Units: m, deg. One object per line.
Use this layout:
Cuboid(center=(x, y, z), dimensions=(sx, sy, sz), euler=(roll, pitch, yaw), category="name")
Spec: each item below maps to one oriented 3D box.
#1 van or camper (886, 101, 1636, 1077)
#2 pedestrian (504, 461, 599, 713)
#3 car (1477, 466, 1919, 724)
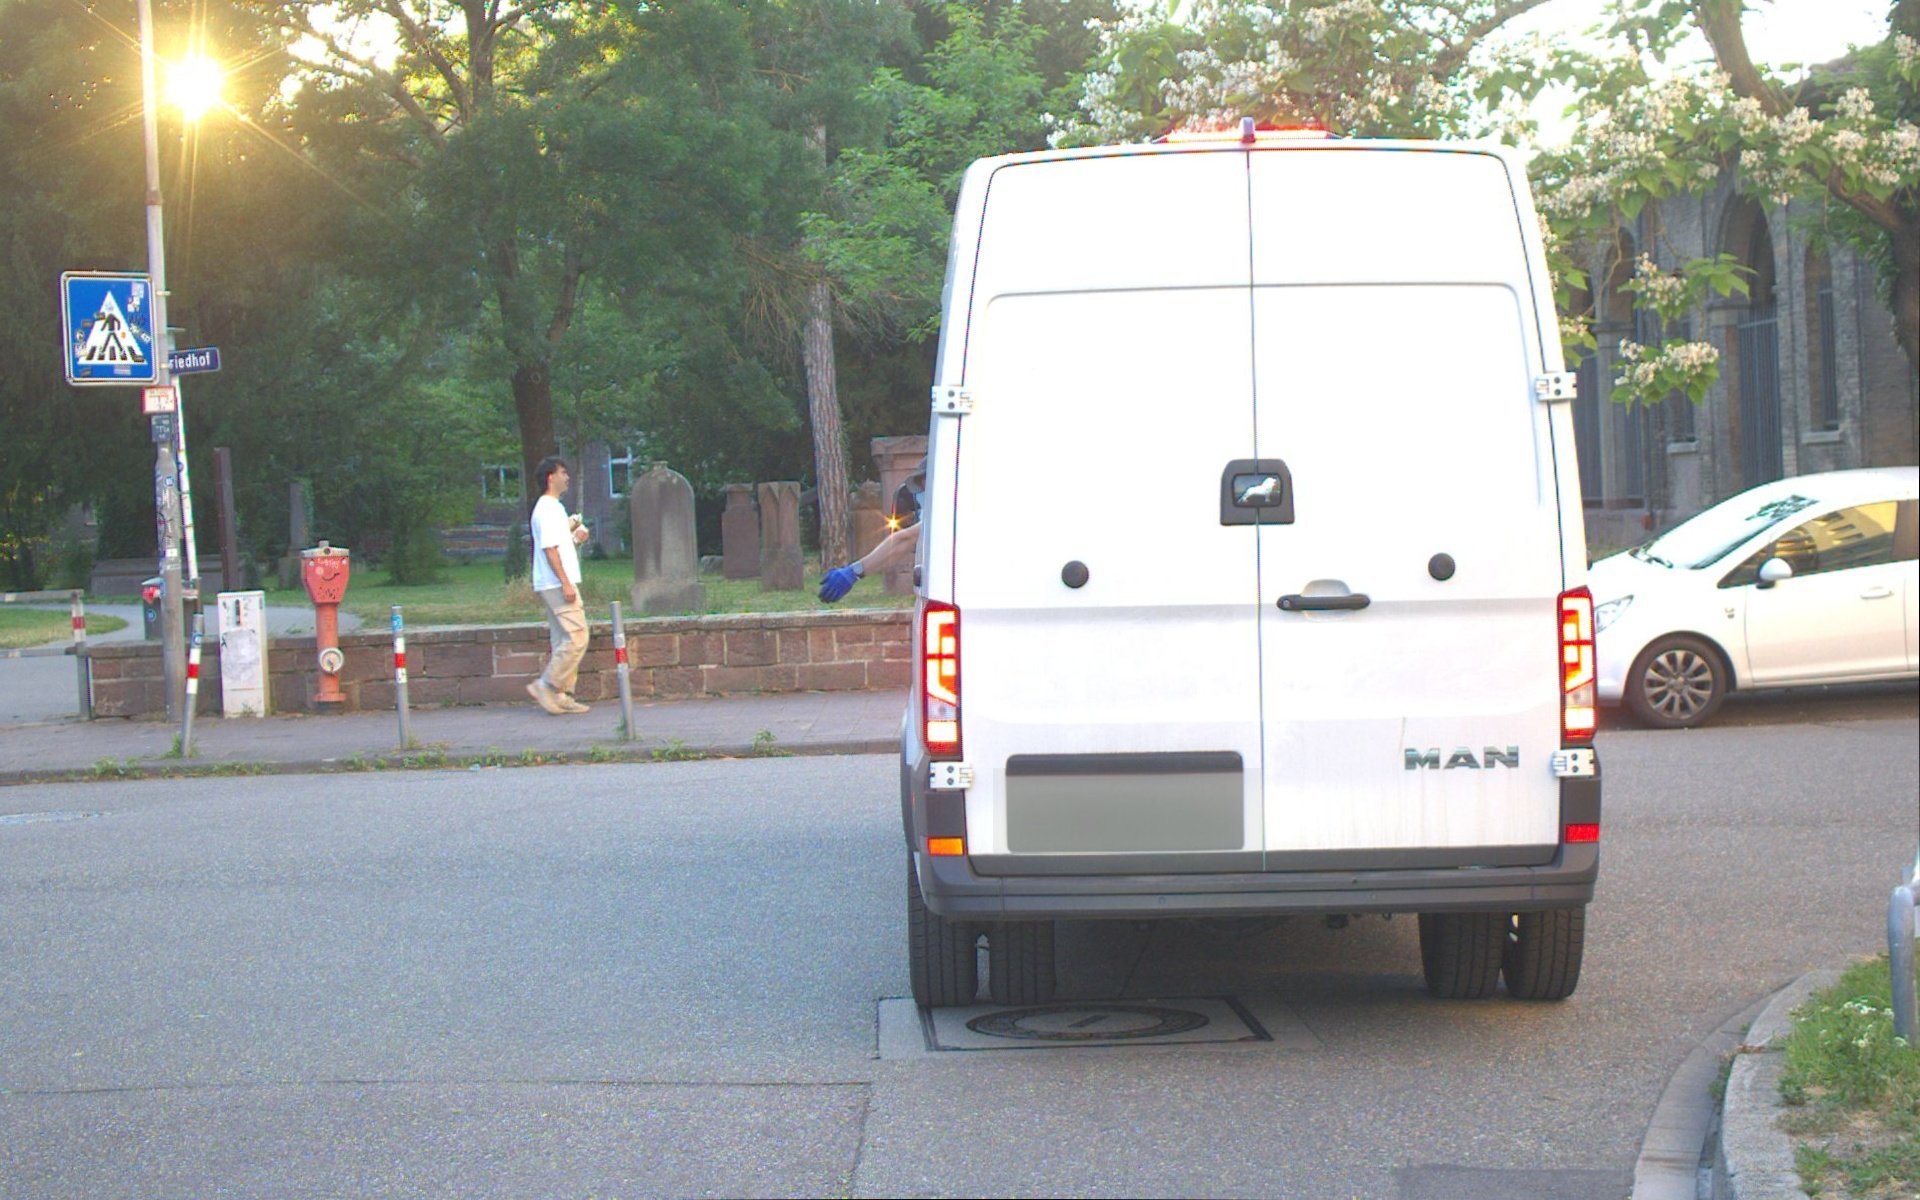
Cuboid(center=(0.831, -0.099, 12.451), dimensions=(1.993, 2.609, 6.403), euler=(0, 1, 0), category="van or camper")
Cuboid(center=(-2.960, -0.101, 24.970), dimensions=(0.593, 1.803, 0.621), euler=(-1, 1, 0), category="pedestrian")
Cuboid(center=(5.539, -0.080, 22.702), dimensions=(3.854, 1.568, 1.958), euler=(-2, 2, -3), category="car")
